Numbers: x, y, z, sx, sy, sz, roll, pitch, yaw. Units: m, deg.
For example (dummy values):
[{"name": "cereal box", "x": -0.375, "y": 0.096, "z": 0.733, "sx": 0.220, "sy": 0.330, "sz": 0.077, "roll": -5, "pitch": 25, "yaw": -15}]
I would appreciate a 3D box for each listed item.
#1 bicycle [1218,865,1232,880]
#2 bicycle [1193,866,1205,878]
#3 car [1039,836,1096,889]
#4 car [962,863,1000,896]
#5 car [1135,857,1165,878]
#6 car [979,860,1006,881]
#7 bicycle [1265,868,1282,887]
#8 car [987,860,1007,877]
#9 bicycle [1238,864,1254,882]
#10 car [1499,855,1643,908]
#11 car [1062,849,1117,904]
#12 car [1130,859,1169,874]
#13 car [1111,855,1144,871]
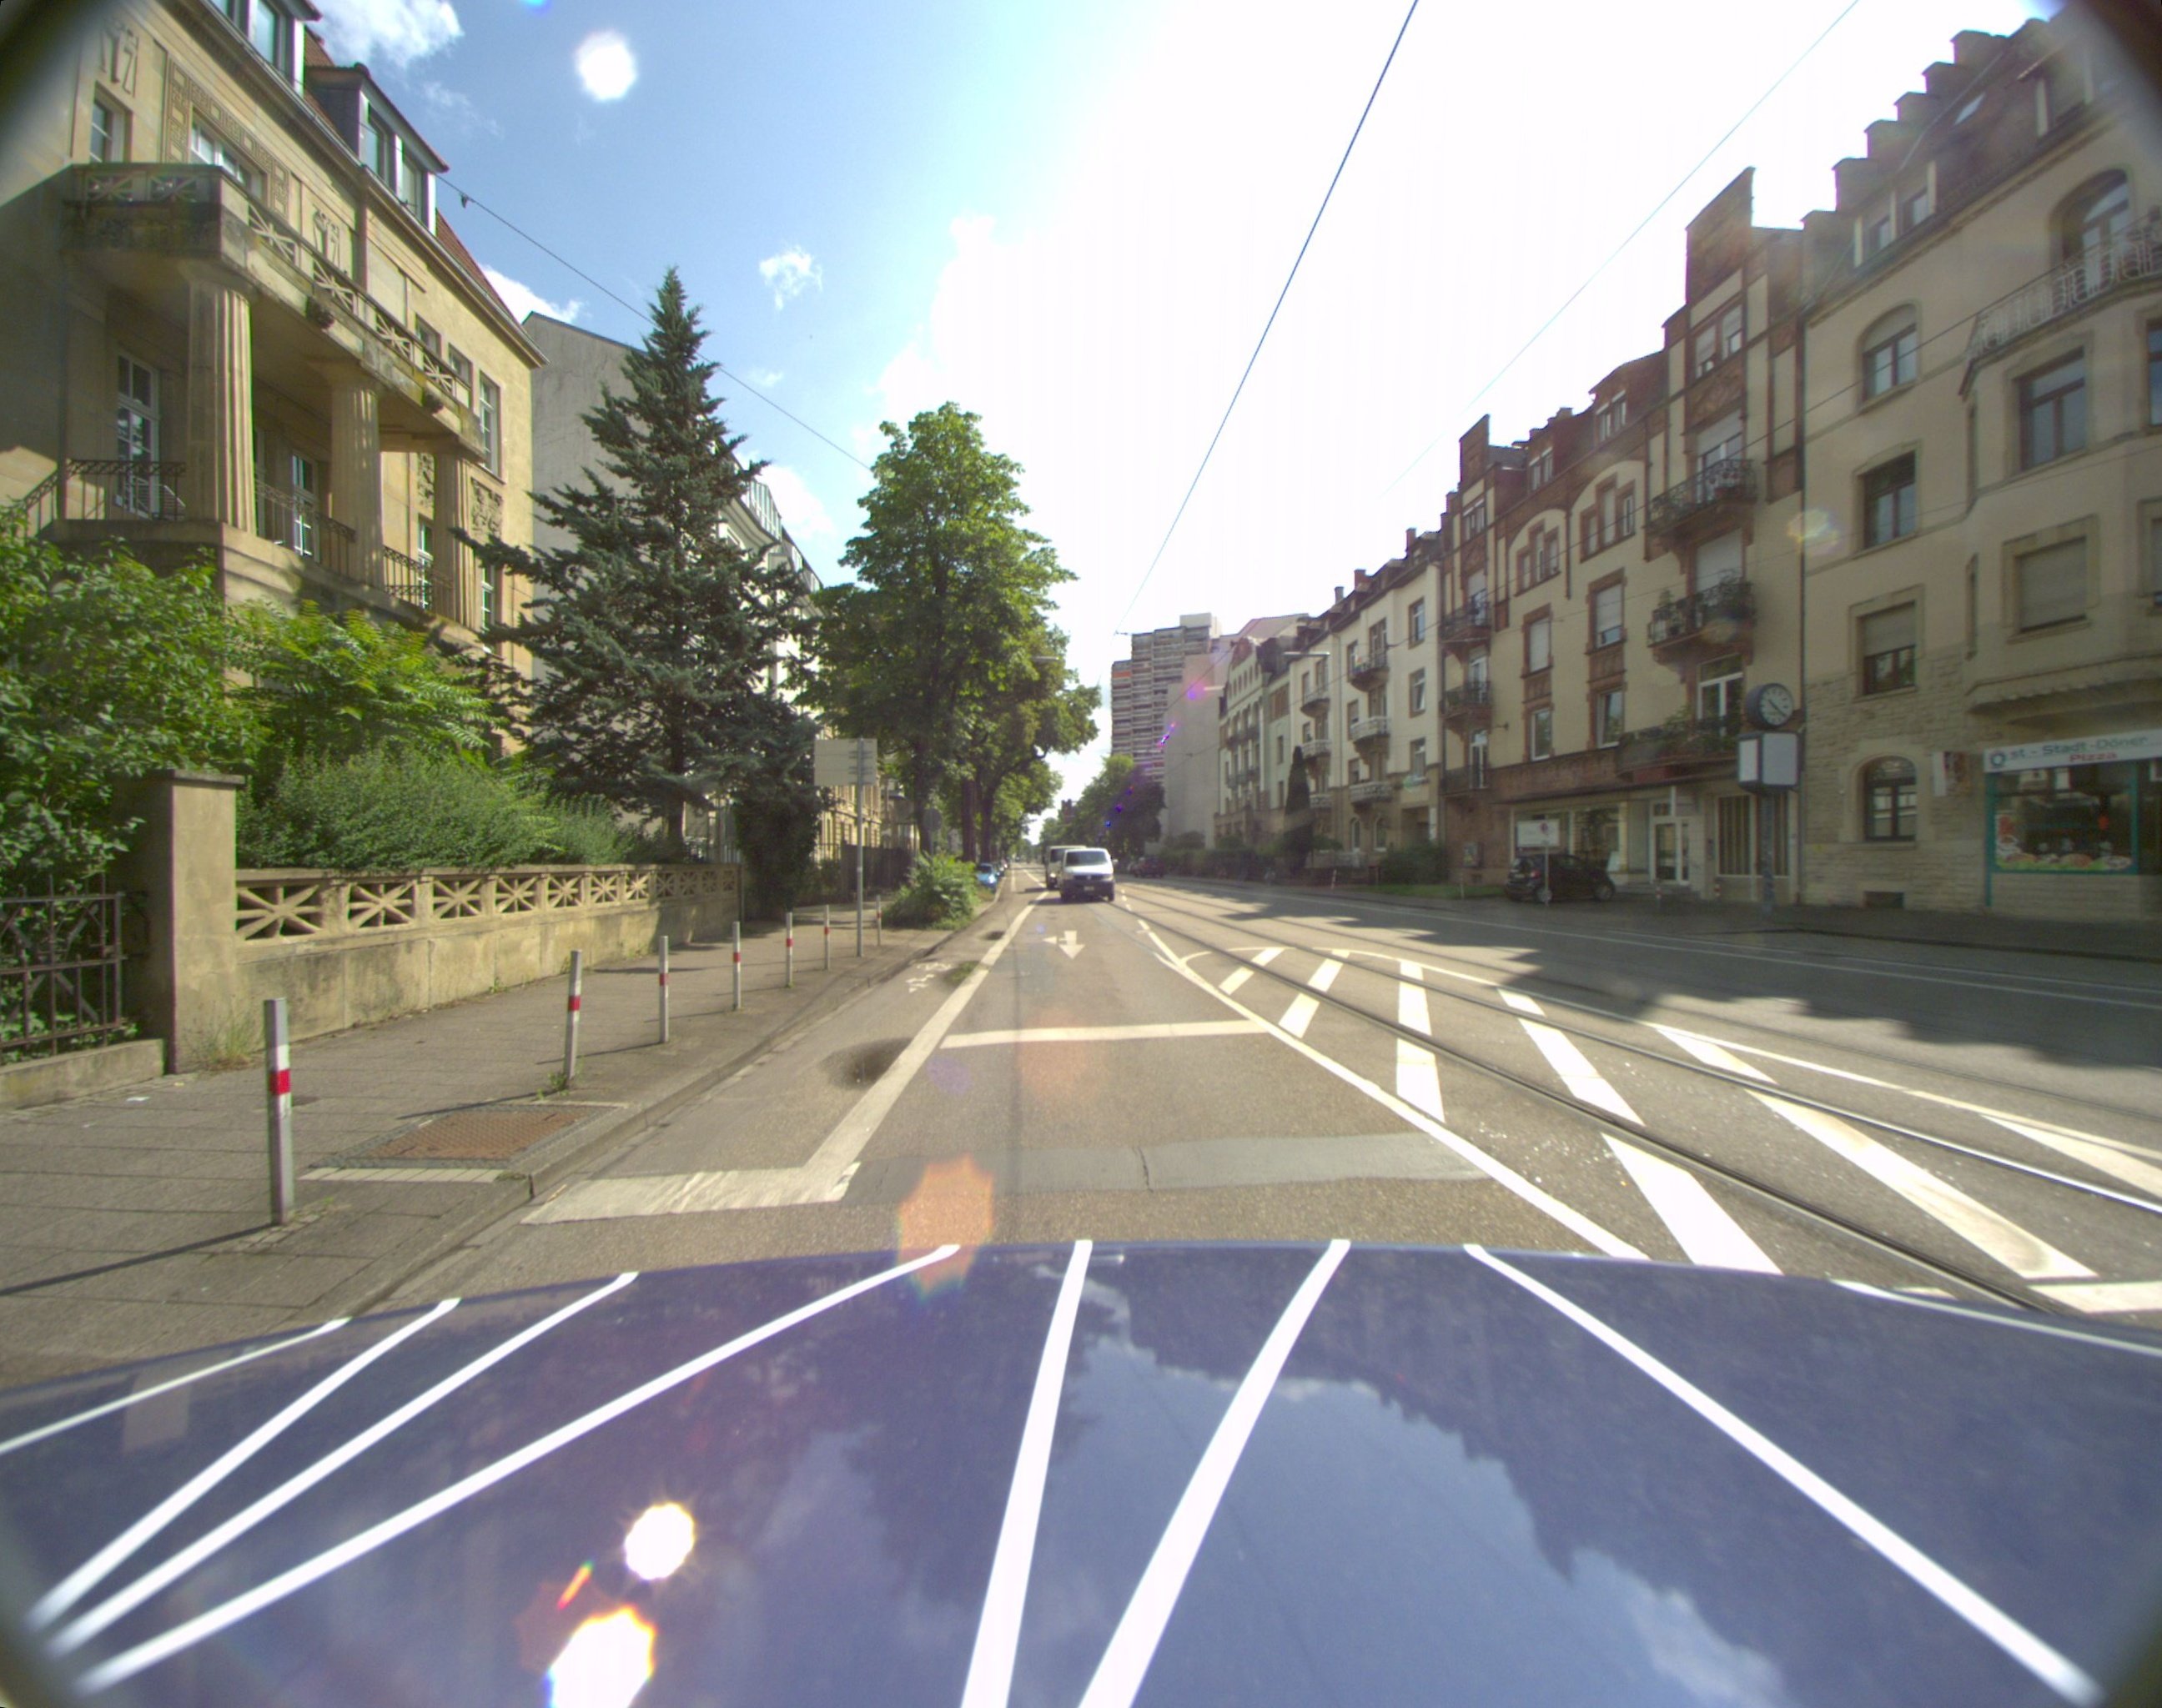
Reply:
[{"name": "bicycle", "x": 9.778, "y": 1.261, "z": 51.753, "sx": 0.587, "sy": 0.980, "sz": 1.872, "roll": -1, "pitch": 1, "yaw": 0}, {"name": "bicycle", "x": 8.960, "y": 1.373, "z": 57.859, "sx": 0.587, "sy": 0.792, "sz": 1.872, "roll": -3, "pitch": 1, "yaw": 0}, {"name": "car", "x": -0.807, "y": 0.439, "z": 39.888, "sx": 2.169, "sy": 2.572, "sz": 5.659, "roll": -1, "pitch": 0, "yaw": -9}, {"name": "car", "x": -4.771, "y": 1.187, "z": 36.551, "sx": 1.642, "sy": 1.446, "sz": 3.697, "roll": 1, "pitch": 0, "yaw": -5}, {"name": "car", "x": 5.791, "y": 1.090, "z": 64.458, "sx": 1.797, "sy": 1.701, "sz": 4.329, "roll": 0, "pitch": 0, "yaw": -5}, {"name": "car", "x": -6.373, "y": 1.151, "z": 54.911, "sx": 1.725, "sy": 1.443, "sz": 3.924, "roll": 2, "pitch": 0, "yaw": -4}, {"name": "bicycle", "x": 10.549, "y": 1.282, "z": 41.737, "sx": 0.524, "sy": 0.901, "sz": 2.066, "roll": -1, "pitch": 2, "yaw": 3}, {"name": "car", "x": -8.143, "y": 1.352, "z": 73.738, "sx": 1.774, "sy": 1.522, "sz": 4.198, "roll": 2, "pitch": 0, "yaw": -4}, {"name": "bicycle", "x": 10.267, "y": 1.181, "z": 47.276, "sx": 0.540, "sy": 1.024, "sz": 1.872, "roll": -1, "pitch": 1, "yaw": 0}, {"name": "car", "x": 15.451, "y": 0.832, "z": 24.048, "sx": 3.454, "sy": 1.477, "sz": 1.706, "roll": -2, "pitch": 0, "yaw": -3}, {"name": "car", "x": 0.240, "y": 0.786, "z": 28.466, "sx": 1.831, "sy": 1.855, "sz": 4.845, "roll": -1, "pitch": 0, "yaw": -2}, {"name": "car", "x": 7.239, "y": 1.337, "z": 80.491, "sx": 3.890, "sy": 1.527, "sz": 1.634, "roll": 0, "pitch": 0, "yaw": -3}, {"name": "car", "x": 5.920, "y": 1.143, "z": 96.687, "sx": 3.998, "sy": 1.914, "sz": 1.830, "roll": 0, "pitch": 0, "yaw": -2}]
